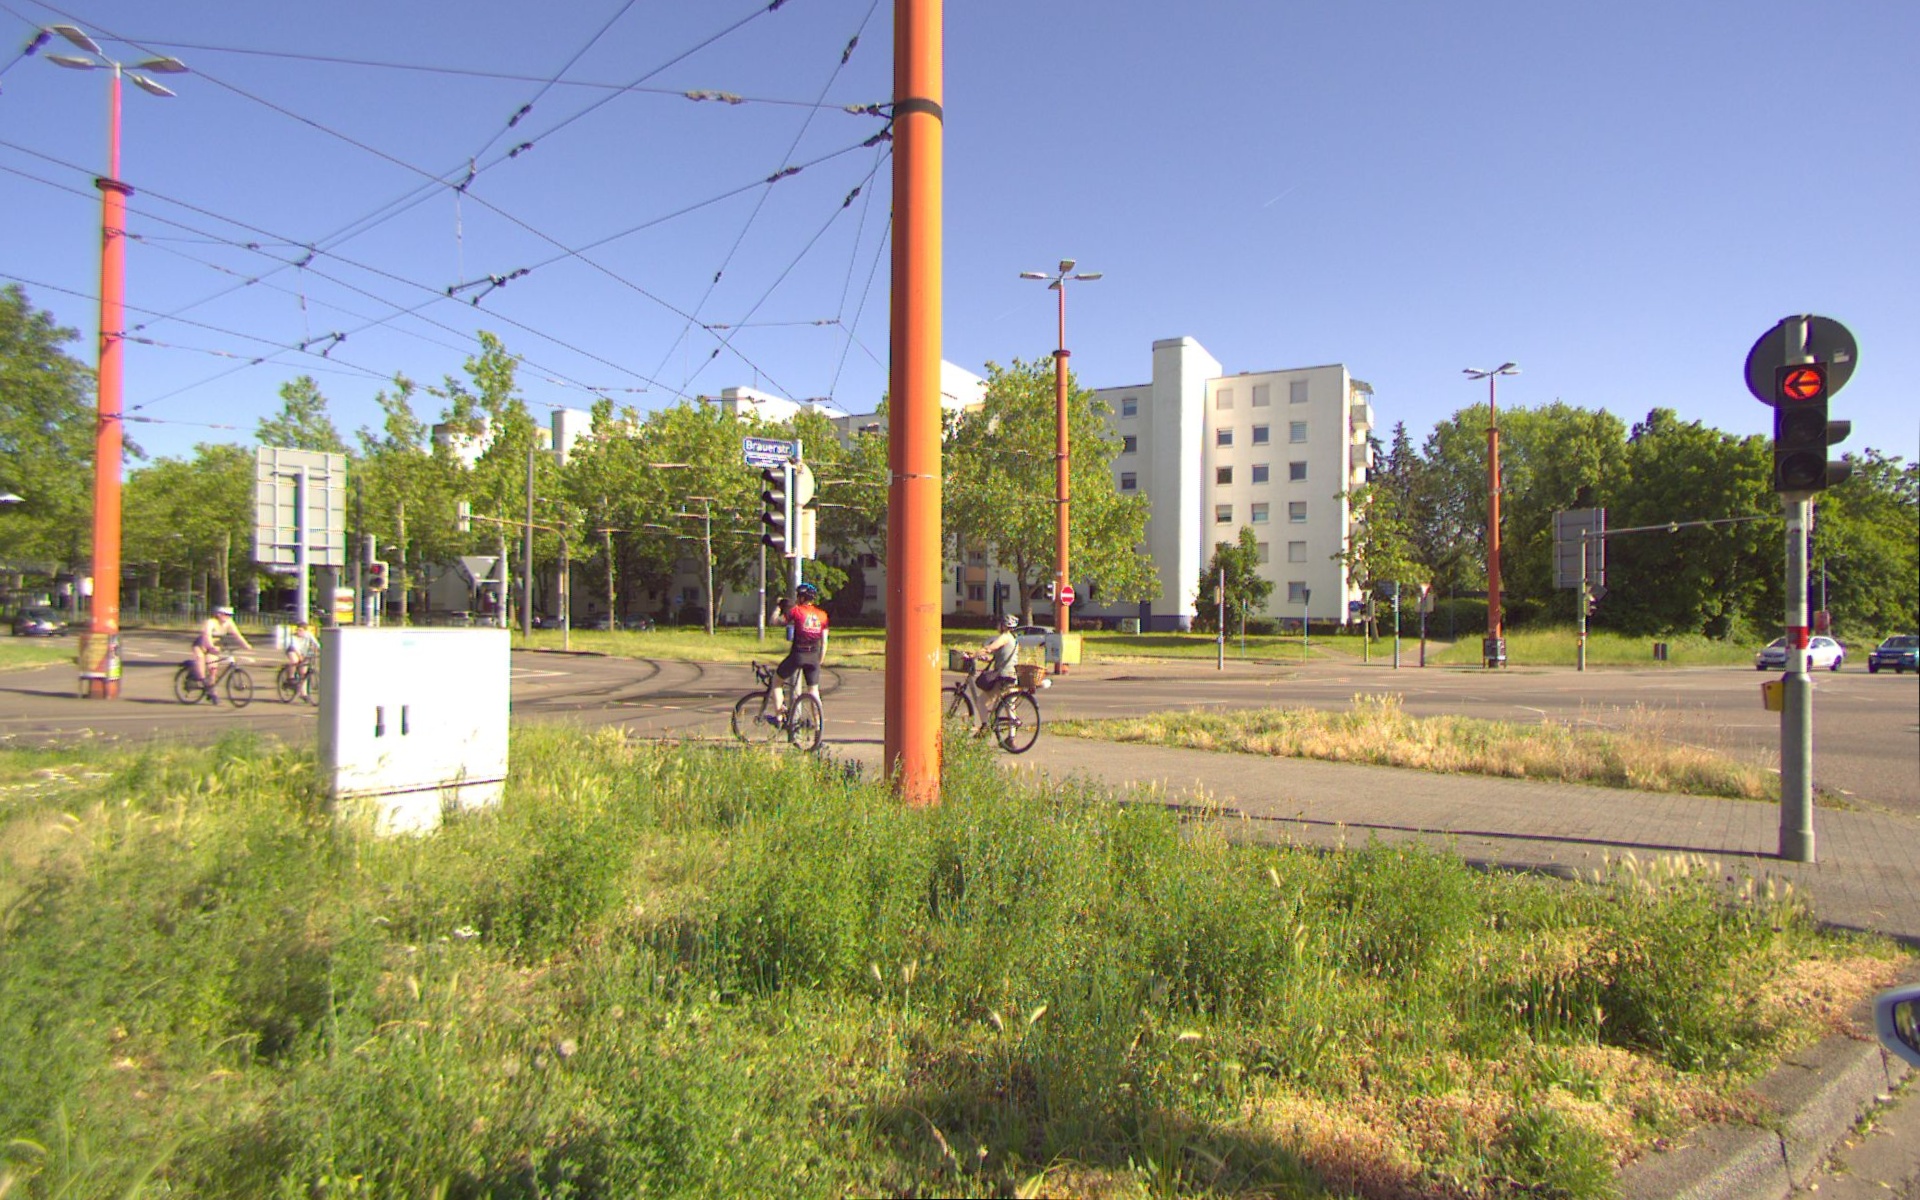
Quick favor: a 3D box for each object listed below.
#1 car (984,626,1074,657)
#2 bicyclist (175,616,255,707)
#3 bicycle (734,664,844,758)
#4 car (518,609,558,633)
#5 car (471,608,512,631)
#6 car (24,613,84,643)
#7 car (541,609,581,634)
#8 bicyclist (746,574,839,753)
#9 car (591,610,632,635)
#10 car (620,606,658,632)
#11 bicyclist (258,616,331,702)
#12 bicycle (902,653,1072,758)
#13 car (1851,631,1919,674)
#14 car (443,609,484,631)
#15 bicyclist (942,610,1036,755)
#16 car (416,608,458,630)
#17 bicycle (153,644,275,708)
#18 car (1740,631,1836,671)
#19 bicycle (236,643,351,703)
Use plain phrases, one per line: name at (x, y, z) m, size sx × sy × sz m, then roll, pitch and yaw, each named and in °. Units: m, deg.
car at (3.461, 2.055, 50.127) m, size 4.137 × 1.471 × 1.800 m, roll 0°, pitch -1°, yaw 18°
bicyclist at (-14.004, 1.130, 18.901) m, size 0.726 × 1.659 × 0.934 m, roll 0°, pitch -1°, yaw 18°
bicycle at (-2.117, 1.304, 12.240) m, size 0.915 × 0.976 × 1.747 m, roll 1°, pitch -1°, yaw -24°
car at (-33.808, 1.666, 80.533) m, size 1.963 × 1.840 × 3.995 m, roll 1°, pitch -1°, yaw -8°
car at (-39.284, 1.636, 84.331) m, size 1.963 × 1.840 × 3.995 m, roll 1°, pitch -1°, yaw -8°
car at (-51.523, 1.580, 57.106) m, size 3.848 × 1.615 × 1.935 m, roll 0°, pitch -2°, yaw 39°
car at (-31.192, 1.671, 78.683) m, size 1.963 × 1.840 × 3.995 m, roll 1°, pitch -1°, yaw -8°
bicyclist at (-2.008, 0.743, 12.010) m, size 0.921 × 2.040 × 0.736 m, roll 1°, pitch -1°, yaw -25°
car at (-26.109, 1.681, 75.334) m, size 1.962 × 1.840 × 3.997 m, roll 1°, pitch -1°, yaw -5°
car at (-23.403, 1.394, 73.422) m, size 1.963 × 1.840 × 3.995 m, roll 1°, pitch -1°, yaw -8°
bicyclist at (-13.213, 1.159, 19.973) m, size 0.726 × 1.659 × 0.934 m, roll 0°, pitch -1°, yaw 18°
bicycle at (0.313, 1.224, 12.125) m, size 1.855 × 1.102 × 0.925 m, roll 0°, pitch -1°, yaw 34°
car at (37.267, 2.035, 39.868) m, size 4.079 × 1.594 × 1.981 m, roll 2°, pitch -1°, yaw -35°
car at (-42.673, 1.694, 86.453) m, size 1.963 × 1.840 × 3.995 m, roll 1°, pitch -1°, yaw -8°
bicyclist at (0.357, 0.954, 12.101) m, size 0.728 × 1.659 × 0.931 m, roll 0°, pitch -1°, yaw 35°
car at (-46.022, 1.670, 88.482) m, size 1.963 × 1.840 × 3.995 m, roll 1°, pitch -1°, yaw -8°
bicycle at (-14.030, 1.409, 18.900) m, size 1.849 × 1.102 × 0.928 m, roll 0°, pitch -1°, yaw 18°
car at (35.143, 2.148, 42.609) m, size 4.075 × 1.594 × 1.983 m, roll 1°, pitch -1°, yaw -32°
bicycle at (-13.253, 1.439, 19.985) m, size 1.849 × 1.102 × 0.928 m, roll 0°, pitch -1°, yaw 18°
